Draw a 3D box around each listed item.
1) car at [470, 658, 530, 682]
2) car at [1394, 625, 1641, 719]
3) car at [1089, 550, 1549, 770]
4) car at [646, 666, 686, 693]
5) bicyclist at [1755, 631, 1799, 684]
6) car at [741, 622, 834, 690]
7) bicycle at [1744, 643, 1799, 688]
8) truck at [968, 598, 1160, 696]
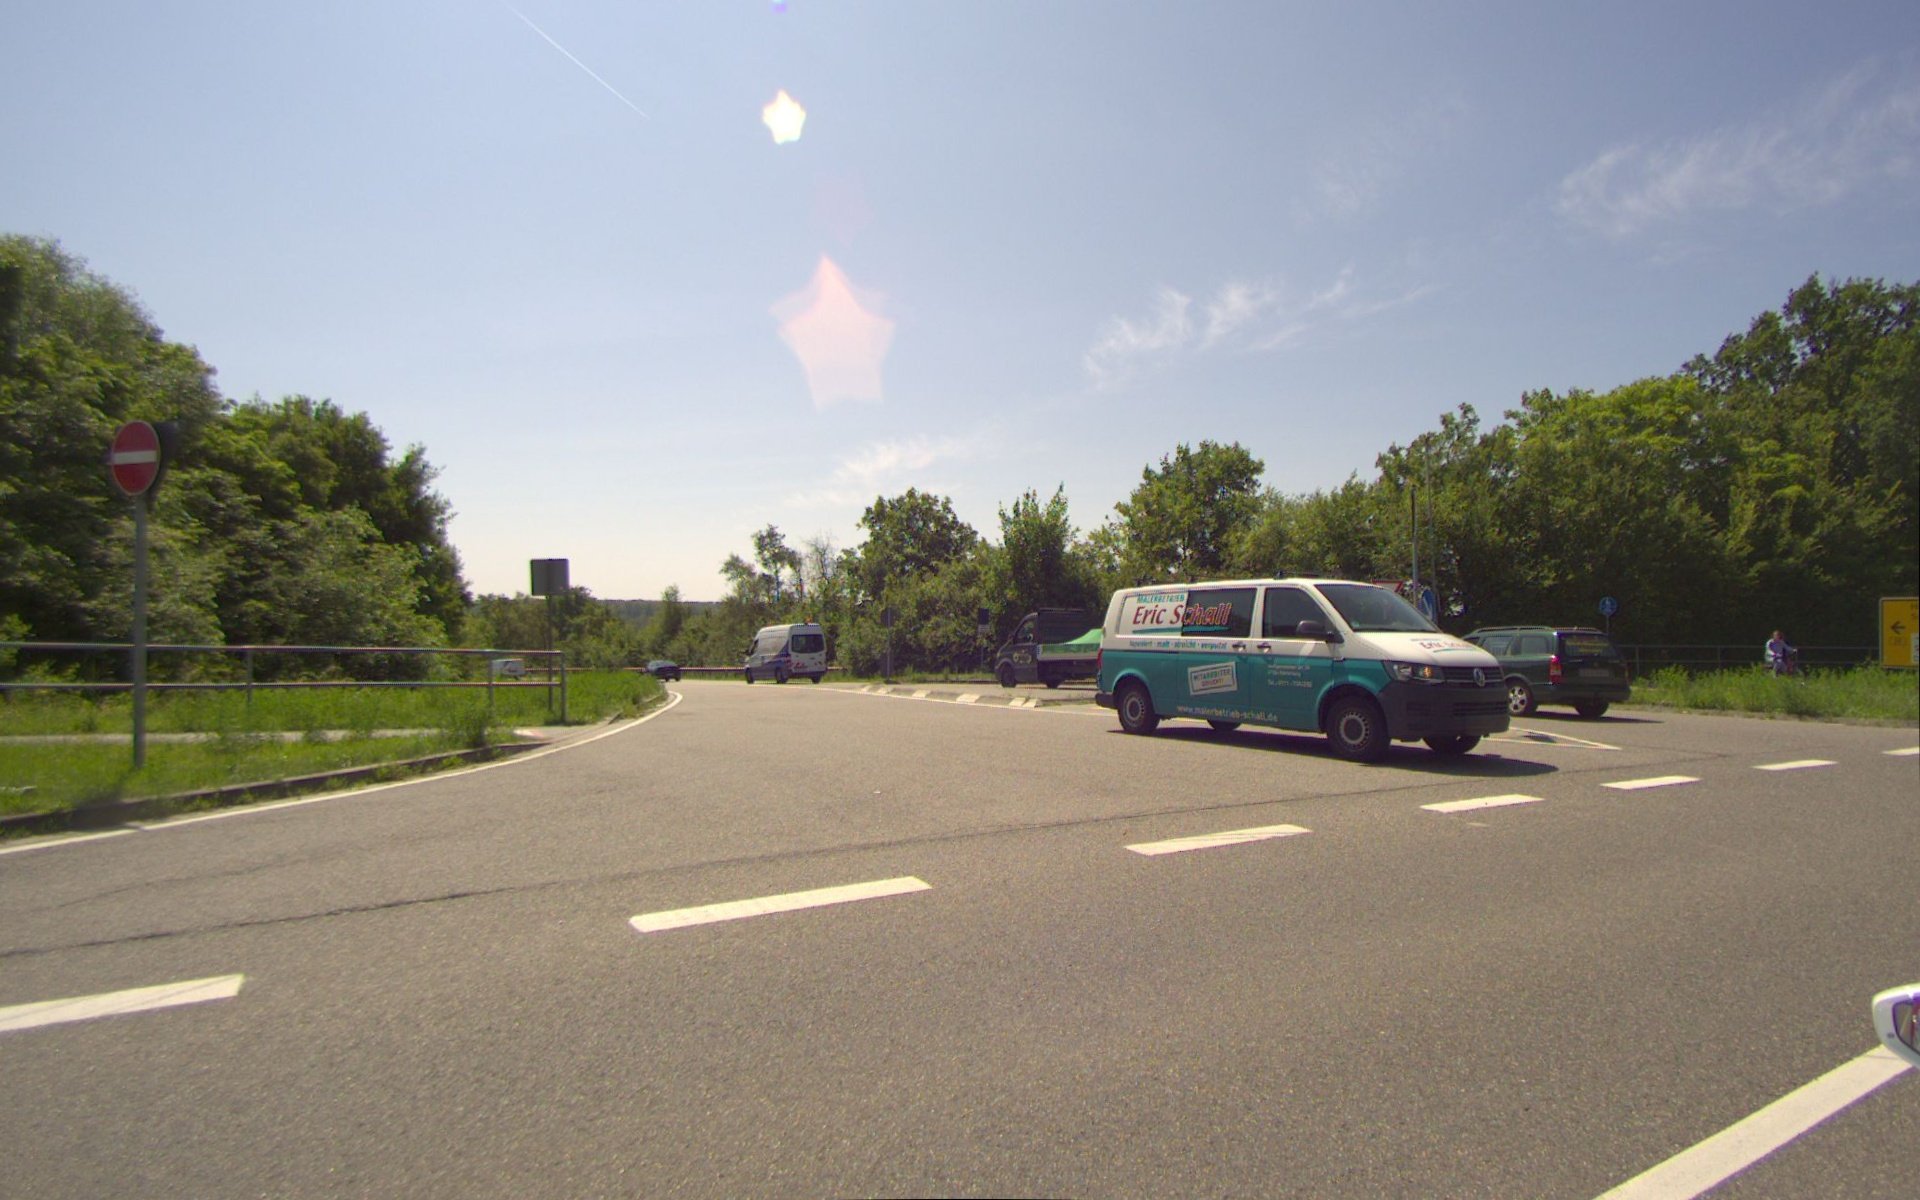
[{"bbox_3d":[-41.265,6.279,90.111,5.097,1.949,2.015,-4,-2,25],"label":"car"},{"bbox_3d":[9.693,1.201,17.820,1.697,1.476,3.787,1,-2,-15],"label":"car"},{"bbox_3d":[3.930,0.671,12.097,1.977,2.054,5.145,1,-3,-31],"label":"car"},{"bbox_3d":[-19.632,5.280,67.015,1.658,1.683,3.968,1,-4,-31],"label":"car"},{"bbox_3d":[21.934,1.532,26.976,0.676,1.381,0.609,1,-1,7],"label":"bicyclist"},{"bbox_3d":[-7.936,2.638,45.773,2.089,2.886,5.962,1,-5,-32],"label":"car"},{"bbox_3d":[21.950,1.757,27.180,0.428,1.128,1.483,1,-1,7],"label":"bicycle"},{"bbox_3d":[2.895,1.465,30.053,2.122,2.598,6.583,2,-4,-32],"label":"truck"}]
